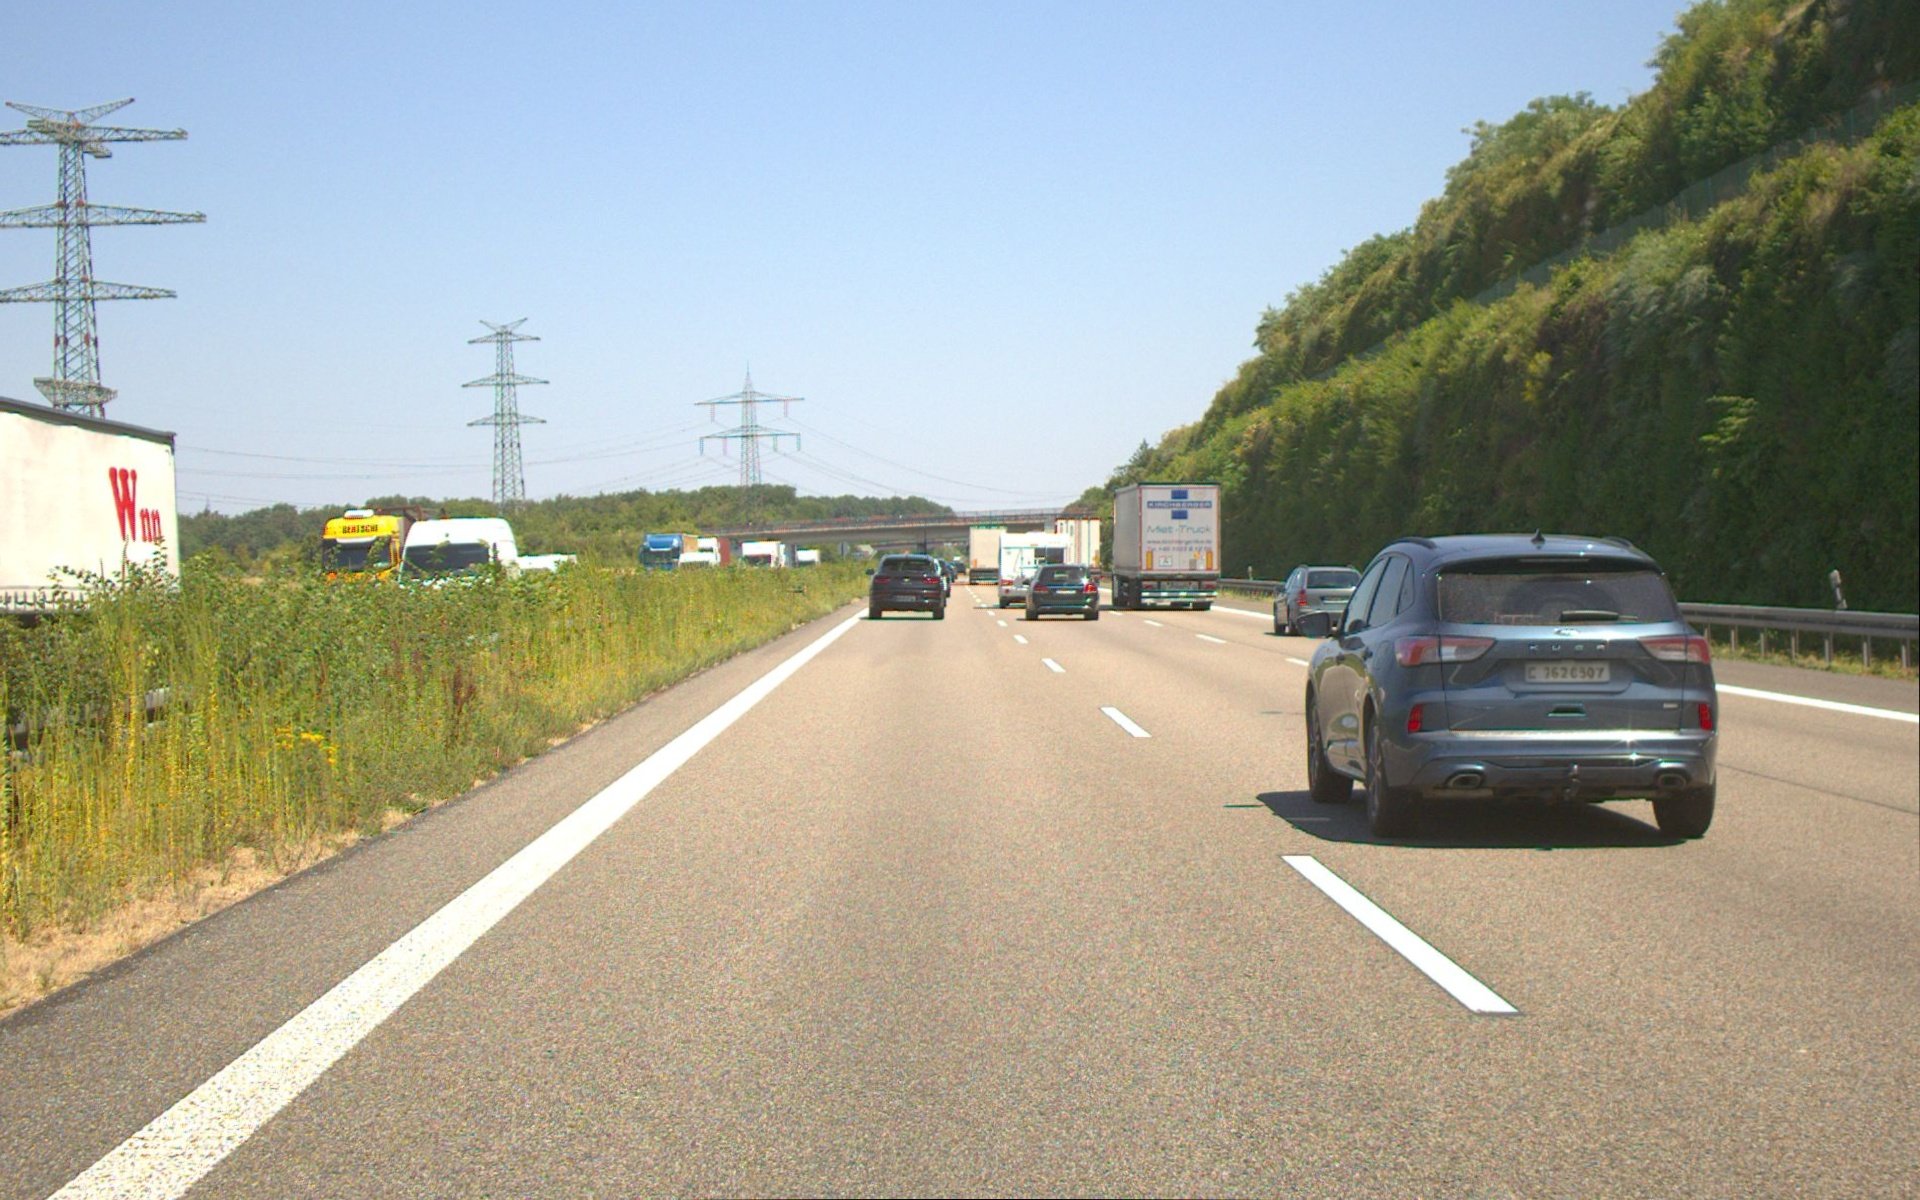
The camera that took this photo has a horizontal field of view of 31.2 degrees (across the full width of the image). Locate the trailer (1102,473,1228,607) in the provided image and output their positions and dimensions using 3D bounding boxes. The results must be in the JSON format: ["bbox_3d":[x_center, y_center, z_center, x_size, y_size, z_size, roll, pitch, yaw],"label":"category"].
[{"bbox_3d":[6.660,-1.951,113.731,3.183,4.107,13.432,-1,1,0],"label":"trailer"}]

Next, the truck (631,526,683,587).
[{"bbox_3d":[-19.777,-2.869,224.830,2.863,3.894,5.621,-1,1,0],"label":"truck"}]

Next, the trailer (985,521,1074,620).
[{"bbox_3d":[2.324,-1.028,117.994,2.610,3.202,9.953,-1,1,-1],"label":"trailer"}]

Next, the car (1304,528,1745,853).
[{"bbox_3d":[3.087,0.434,19.607,1.794,1.647,4.138,0,1,-1],"label":"car"}]

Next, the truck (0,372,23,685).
[{"bbox_3d":[-14.082,-0.929,43.890,2.805,4.144,5.570,0,1,-1],"label":"truck"}]

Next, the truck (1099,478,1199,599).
[{"bbox_3d":[6.598,-2.144,120.774,3.136,4.127,5.504,-1,1,0],"label":"truck"}]

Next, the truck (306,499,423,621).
[{"bbox_3d":[-18.880,-1.272,109.211,2.725,3.715,5.646,-1,1,-1],"label":"truck"}]

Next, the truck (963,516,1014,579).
[{"bbox_3d":[1.956,-3.705,242.815,3.409,4.265,10.607,-1,1,0],"label":"truck"}]

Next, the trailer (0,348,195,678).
[{"bbox_3d":[-14.191,-1.223,51.294,2.769,4.335,14.241,0,1,-2],"label":"trailer"}]

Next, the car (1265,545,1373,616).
[{"bbox_3d":[7.401,-0.428,71.289,1.684,1.423,4.454,0,1,-1],"label":"car"}]

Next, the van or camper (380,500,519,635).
[{"bbox_3d":[-10.151,-0.663,68.782,1.993,2.573,6.286,0,1,-1],"label":"van or camper"}]

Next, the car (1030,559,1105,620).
[{"bbox_3d":[2.810,-0.294,90.749,1.830,1.520,4.000,-1,1,0],"label":"car"}]

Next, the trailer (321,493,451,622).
[{"bbox_3d":[-18.912,-1.425,113.879,2.736,4.032,9.424,-1,1,-1],"label":"trailer"}]

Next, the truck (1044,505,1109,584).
[{"bbox_3d":[6.458,-3.076,192.197,3.119,4.265,11.934,-1,1,0],"label":"truck"}]

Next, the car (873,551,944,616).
[{"bbox_3d":[-1.390,-0.458,92.049,1.830,1.665,4.000,-1,1,-1],"label":"car"}]
